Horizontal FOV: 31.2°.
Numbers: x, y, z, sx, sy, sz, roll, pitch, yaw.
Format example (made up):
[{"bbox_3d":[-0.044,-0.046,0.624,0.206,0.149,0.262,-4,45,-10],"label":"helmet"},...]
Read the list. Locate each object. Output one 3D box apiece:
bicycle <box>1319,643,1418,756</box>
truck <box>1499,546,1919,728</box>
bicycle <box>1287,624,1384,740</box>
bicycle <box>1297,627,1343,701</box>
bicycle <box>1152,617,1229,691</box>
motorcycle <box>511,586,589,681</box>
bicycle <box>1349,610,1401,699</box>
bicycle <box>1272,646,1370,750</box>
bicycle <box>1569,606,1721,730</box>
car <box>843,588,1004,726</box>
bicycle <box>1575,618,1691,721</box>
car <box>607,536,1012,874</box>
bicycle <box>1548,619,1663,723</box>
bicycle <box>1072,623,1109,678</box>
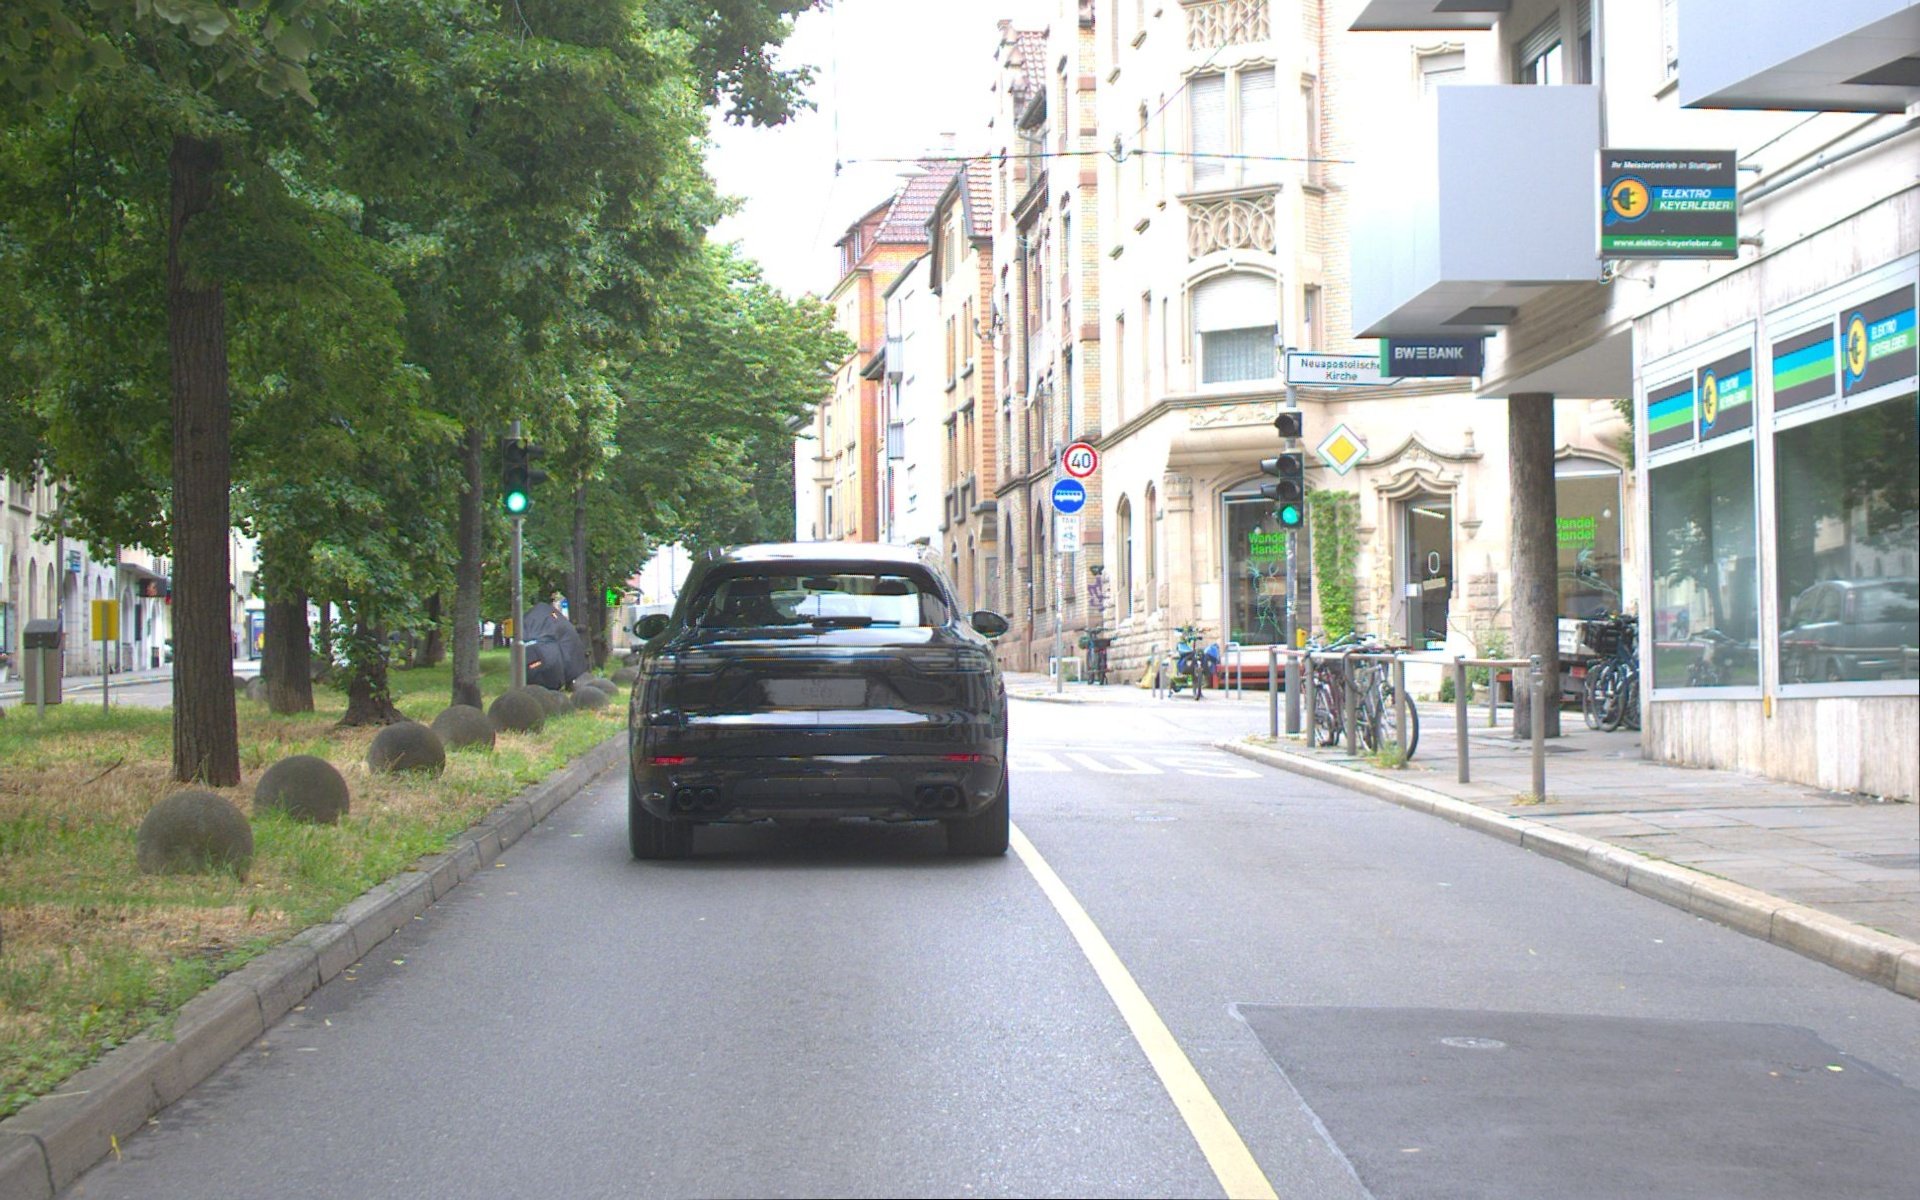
[{"bbox_3d":[3.468,0.835,29.303,0.569,0.928,1.775,0,-1,-2],"label":"bicycle"},{"bbox_3d":[9.982,0.481,43.943,5.557,2.126,2.382,2,0,-12],"label":"truck"},{"bbox_3d":[3.487,0.756,32.045,0.286,1.051,1.761,0,-1,-15],"label":"bicycle"},{"bbox_3d":[5.480,0.969,52.412,0.349,1.055,1.834,2,0,-4],"label":"bicycle"},{"bbox_3d":[3.608,0.836,54.088,0.879,1.125,2.979,0,-1,-3],"label":"bicycle"},{"bbox_3d":[-6.507,0.534,54.702,1.019,1.441,2.247,-2,-1,-2],"label":"motorcycle"},{"bbox_3d":[6.283,0.812,52.070,0.446,1.157,1.835,-1,5,-4],"label":"bicycle"},{"bbox_3d":[3.317,0.894,31.721,0.286,0.928,1.761,0,-1,-15],"label":"bicycle"},{"bbox_3d":[6.749,0.660,33.942,0.318,1.194,1.761,1,-1,-34],"label":"bicycle"},{"bbox_3d":[-0.428,0.693,39.404,1.763,1.461,3.591,0,-3,-1],"label":"car"},{"bbox_3d":[6.915,0.707,35.392,0.318,1.040,1.761,1,-1,-20],"label":"bicycle"},{"bbox_3d":[-0.795,0.506,18.980,1.993,1.660,4.000,0,0,-2],"label":"car"},{"bbox_3d":[6.612,0.720,35.279,0.318,1.040,1.761,1,-1,-20],"label":"bicycle"},{"bbox_3d":[2.474,0.965,65.239,0.446,1.033,2.248,-1,-1,-4],"label":"bicycle"}]
